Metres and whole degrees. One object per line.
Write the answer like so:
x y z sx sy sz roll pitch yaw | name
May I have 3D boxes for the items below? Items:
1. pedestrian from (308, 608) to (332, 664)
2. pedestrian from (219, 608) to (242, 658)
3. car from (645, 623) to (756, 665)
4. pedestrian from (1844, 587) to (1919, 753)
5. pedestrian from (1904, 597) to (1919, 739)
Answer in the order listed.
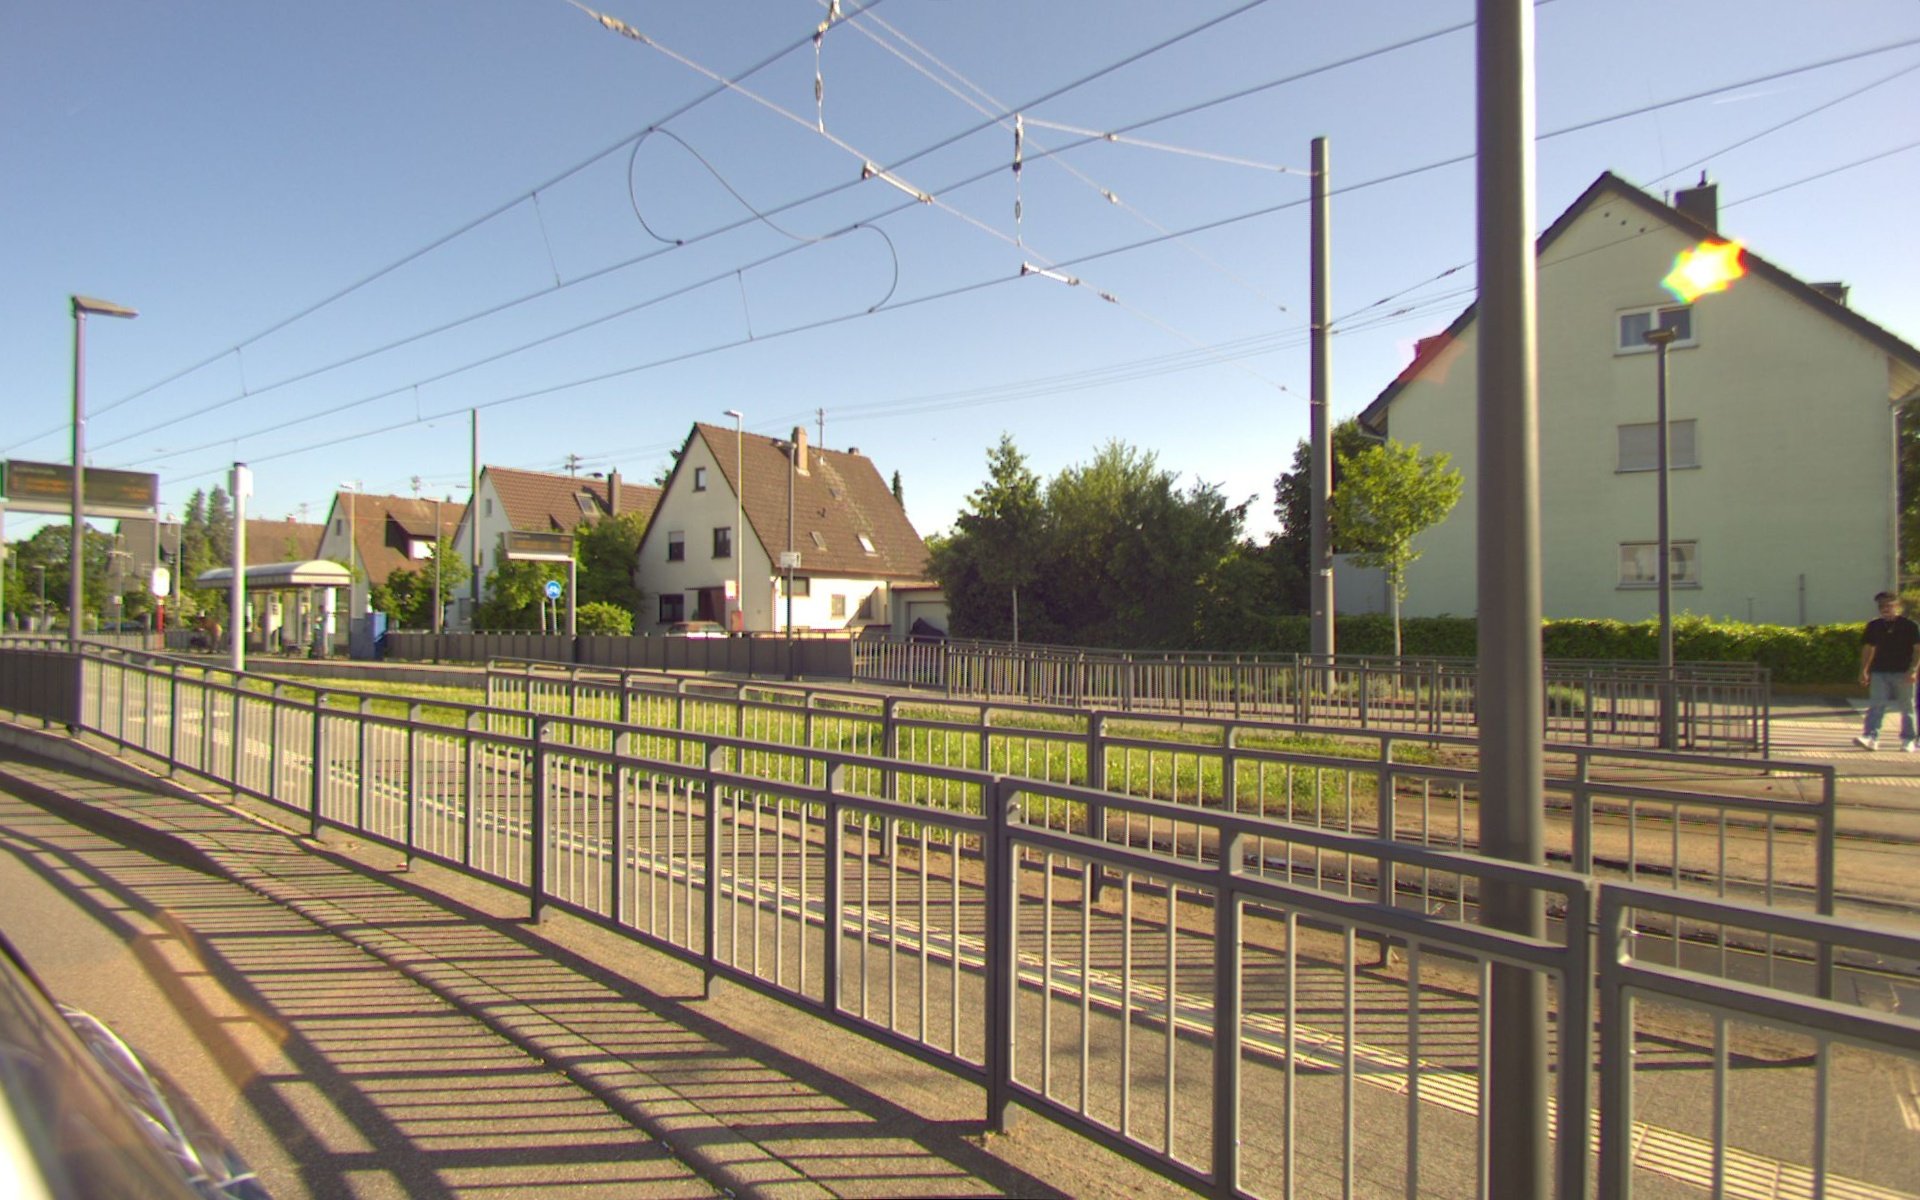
-20.296 1.141 32.084 0.612 1.766 0.443 1 -2 -33 | pedestrian
-26.172 1.186 36.294 0.542 1.766 0.528 -2 -2 37 | pedestrian
-10.210 1.695 40.044 1.995 1.547 3.944 -1 -2 35 | car
10.501 0.753 11.197 0.817 1.784 0.687 1 1 13 | pedestrian
11.737 0.819 11.804 0.720 1.673 0.793 1 1 13 | pedestrian
